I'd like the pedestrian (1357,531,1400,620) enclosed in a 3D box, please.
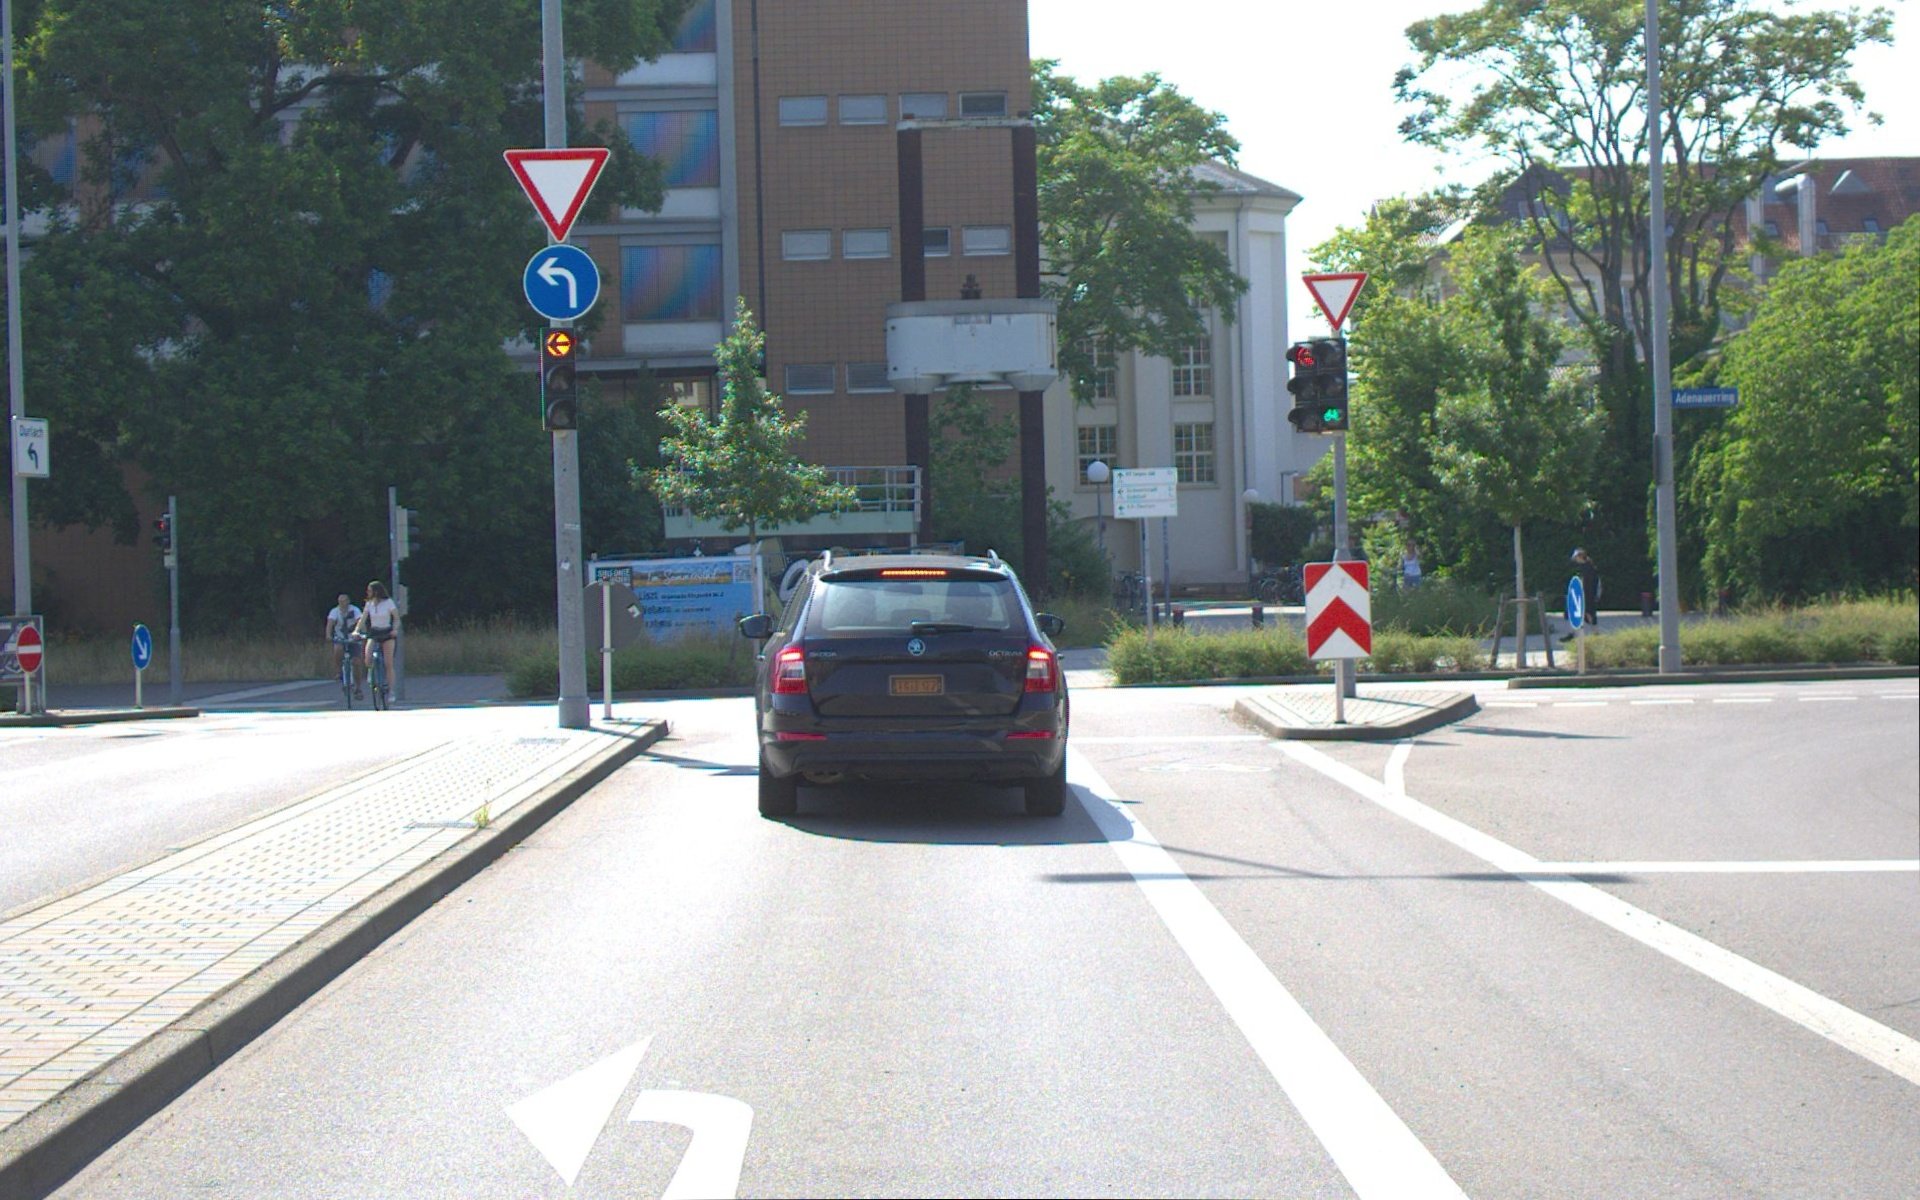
[{"bbox_3d":[8.868,-0.520,72.844,0.794,1.868,0.638,0,-1,18],"label":"pedestrian"}]

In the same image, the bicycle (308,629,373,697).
[{"bbox_3d":[-9.561,0.965,53.120,0.704,0.974,2.031,-2,1,-3],"label":"bicycle"}]

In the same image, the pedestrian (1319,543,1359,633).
[{"bbox_3d":[8.066,-0.253,73.100,0.597,1.868,0.638,2,-1,22],"label":"pedestrian"}]

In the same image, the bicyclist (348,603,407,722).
[{"bbox_3d":[-8.024,0.852,47.414,0.618,1.576,1.014,-4,1,-5],"label":"bicyclist"}]

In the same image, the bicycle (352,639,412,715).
[{"bbox_3d":[-8.067,1.059,48.009,0.618,0.957,1.968,-4,1,-5],"label":"bicycle"}]

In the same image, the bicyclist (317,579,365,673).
[{"bbox_3d":[-9.570,0.403,53.149,0.539,1.412,1.030,-3,0,-2],"label":"bicyclist"}]

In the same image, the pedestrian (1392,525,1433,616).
[{"bbox_3d":[9.443,-0.619,71.800,0.637,1.868,0.796,-3,1,-1],"label":"pedestrian"}]

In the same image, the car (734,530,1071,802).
[{"bbox_3d":[-0.317,0.327,20.117,1.780,1.438,3.818,0,1,0],"label":"car"}]

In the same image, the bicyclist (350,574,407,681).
[{"bbox_3d":[-8.114,0.371,47.999,0.618,1.438,0.921,-4,1,-5],"label":"bicyclist"}]
